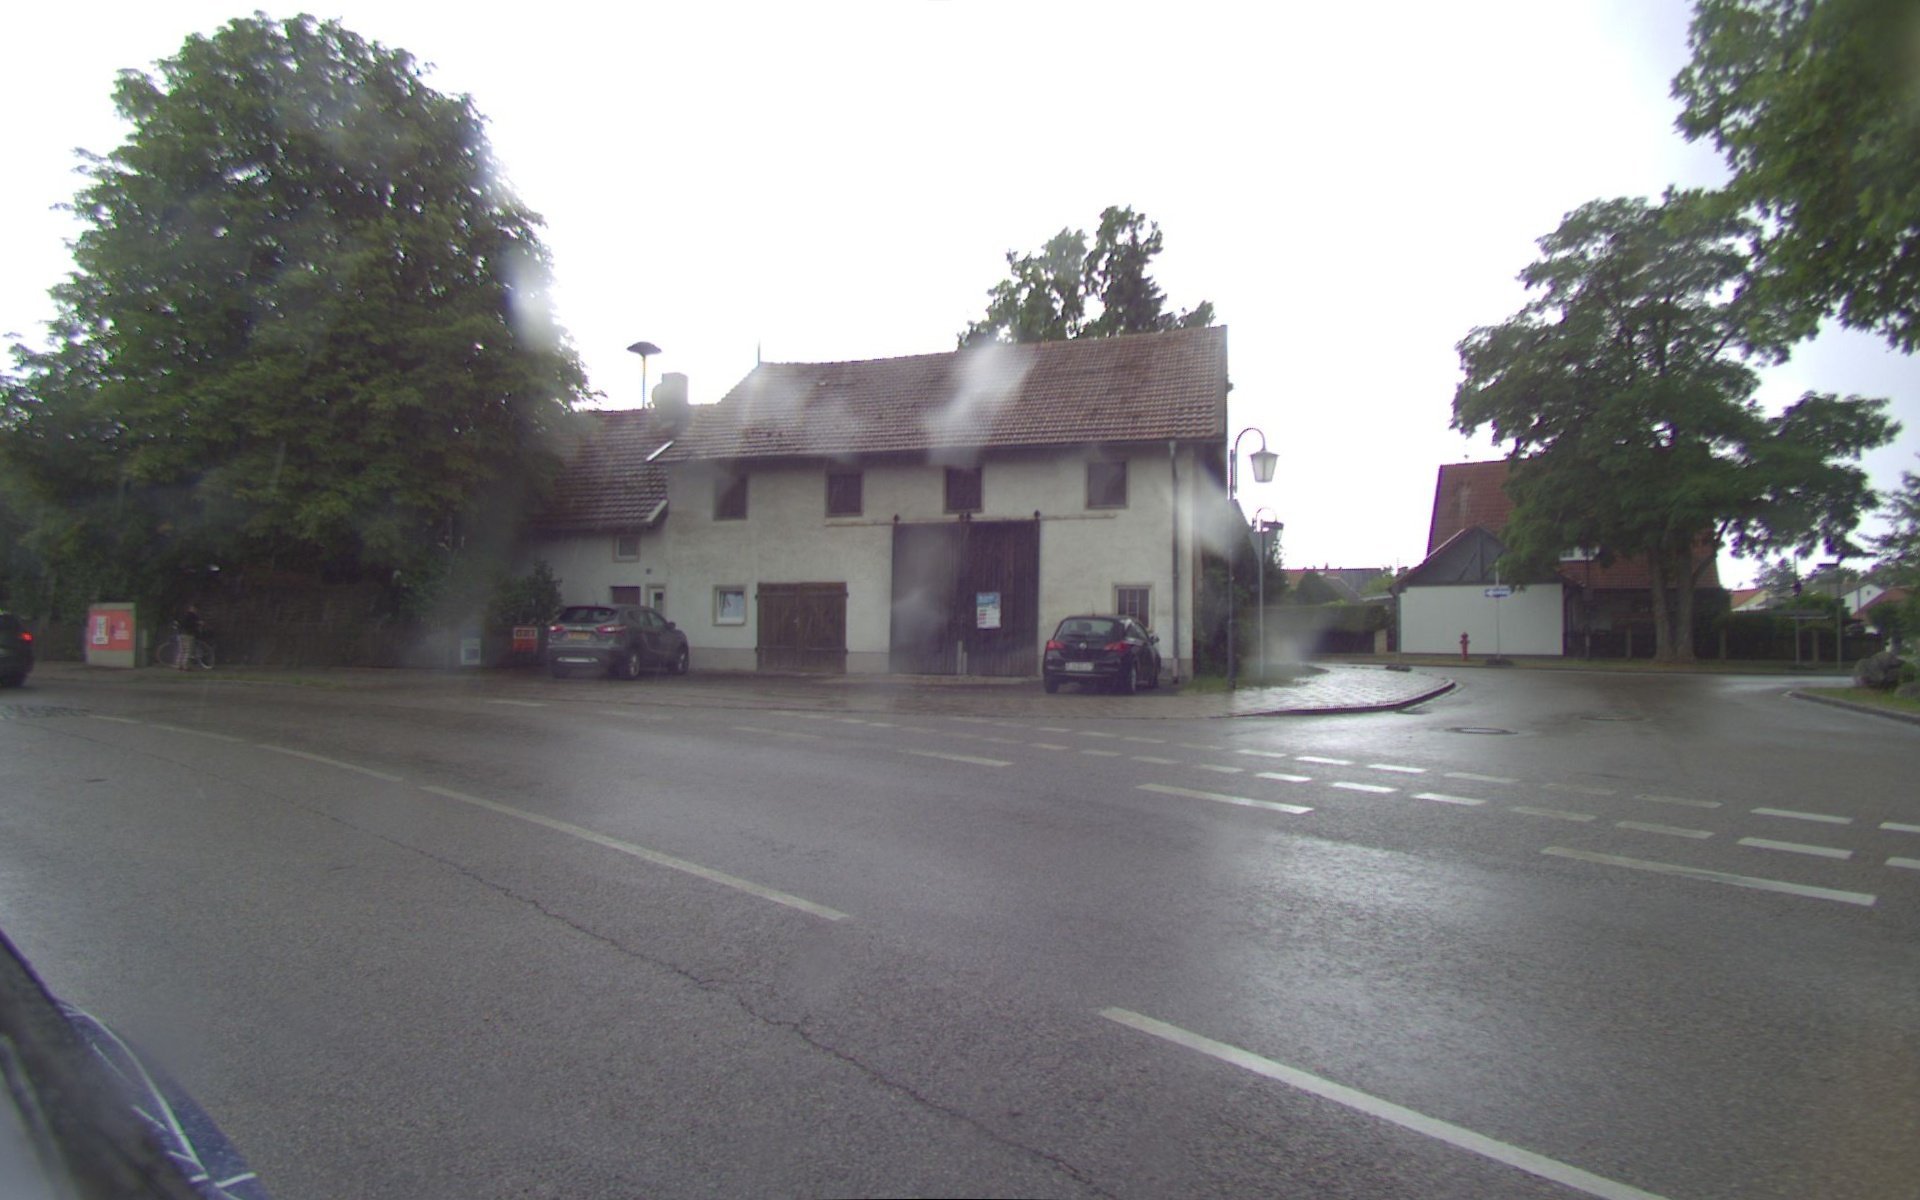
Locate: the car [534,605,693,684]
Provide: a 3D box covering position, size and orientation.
[{"bbox_3d":[-7.473,1.000,22.323,1.794,1.560,4.275,0,-3,4],"label":"car"}]

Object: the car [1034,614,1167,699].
[{"bbox_3d":[2.833,1.003,19.551,1.806,1.447,4.254,0,-1,19],"label":"car"}]

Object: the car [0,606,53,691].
[{"bbox_3d":[-20.253,0.962,19.836,4.159,1.607,1.987,-1,-1,20],"label":"car"}]

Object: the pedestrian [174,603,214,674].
[{"bbox_3d":[-18.083,0.897,23.899,0.642,1.640,0.480,0,-1,-26],"label":"pedestrian"}]

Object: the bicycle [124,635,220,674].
[{"bbox_3d":[-19.098,1.310,24.549,1.849,0.909,0.663,0,-1,3],"label":"bicycle"}]
